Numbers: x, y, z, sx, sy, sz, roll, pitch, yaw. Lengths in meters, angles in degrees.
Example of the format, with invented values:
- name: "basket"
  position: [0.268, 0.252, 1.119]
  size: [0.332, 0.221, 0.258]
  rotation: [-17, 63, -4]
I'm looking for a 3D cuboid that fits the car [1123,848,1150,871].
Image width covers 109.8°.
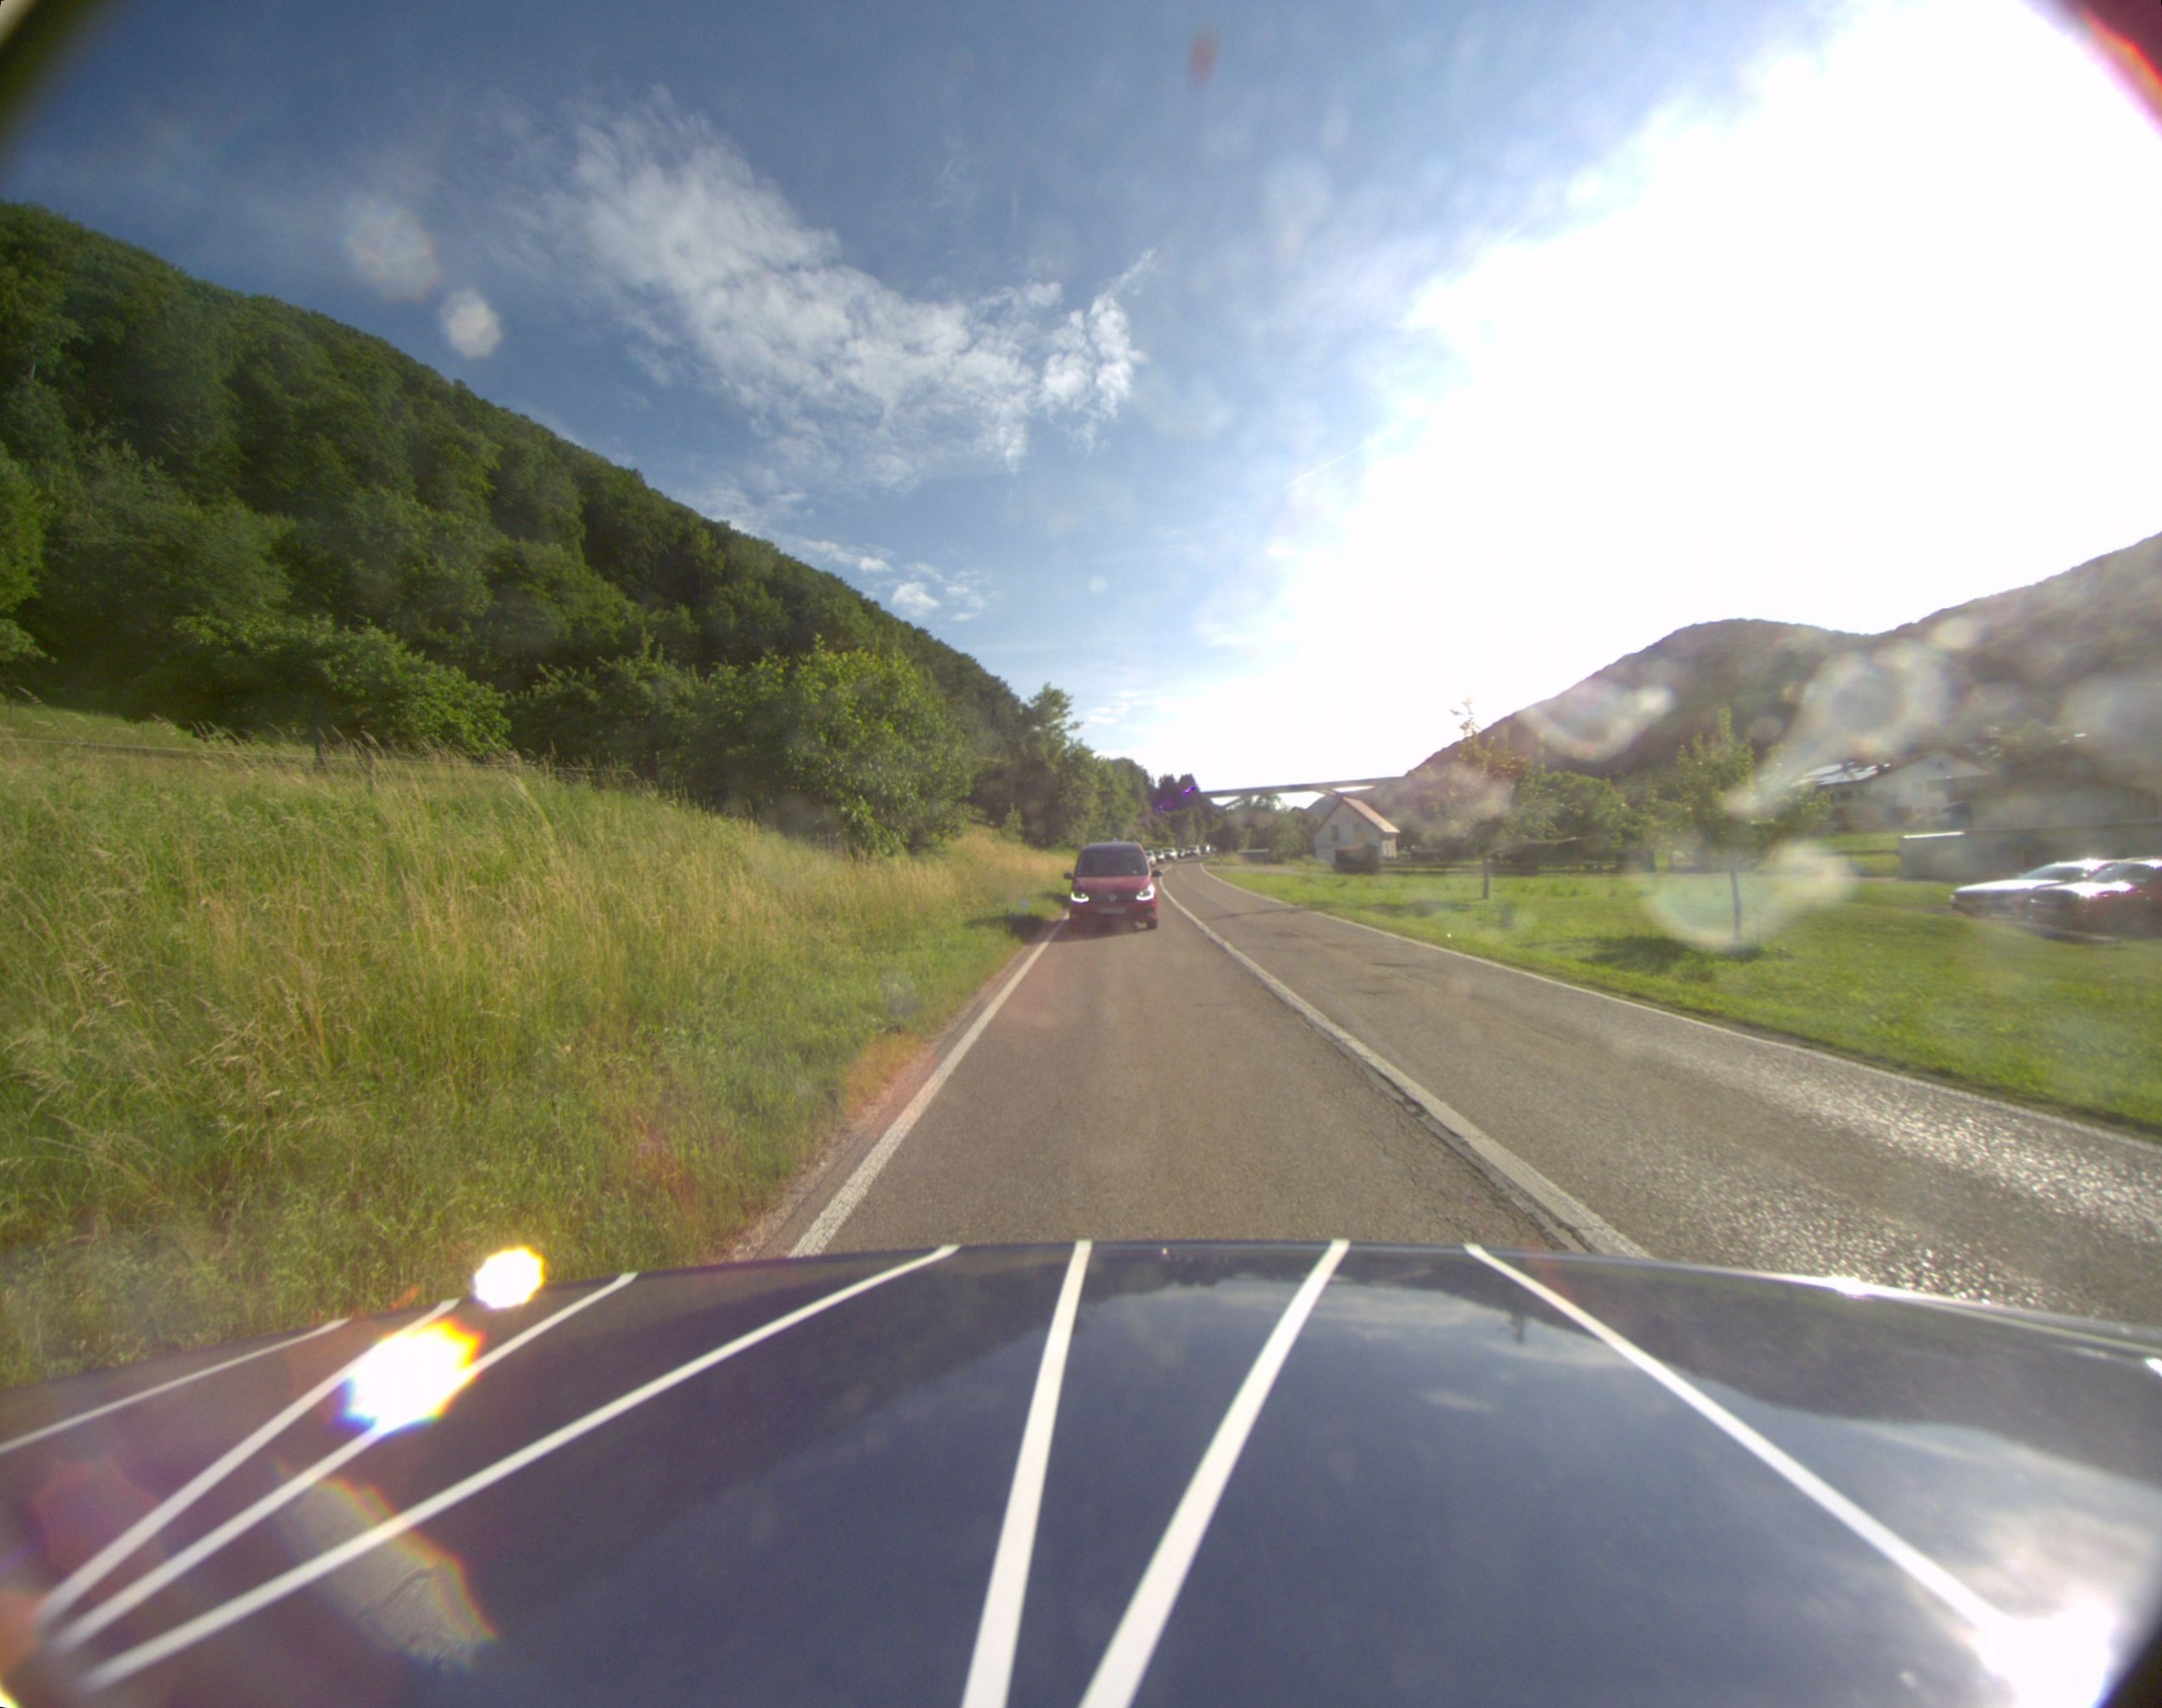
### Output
- name: "car"
  position: [4.004, 0.370, 54.321]
  size: [1.629, 1.470, 3.681]
  rotation: [-2, 1, 8]

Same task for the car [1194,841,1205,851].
- name: "car"
  position: [19.106, -1.360, 122.578]
  size: [1.629, 1.470, 3.680]
  rotation: [-2, 1, 7]

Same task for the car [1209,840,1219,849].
- name: "car"
  position: [23.925, -1.766, 136.755]
  size: [1.629, 1.470, 3.682]
  rotation: [-2, 1, 11]

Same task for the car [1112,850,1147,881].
- name: "car"
  position: [2.673, 0.601, 41.303]
  size: [1.629, 1.470, 3.681]
  rotation: [-2, 1, 8]

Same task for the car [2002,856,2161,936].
- name: "car"
  position: [24.818, 0.934, 17.482]
  size: [4.327, 1.659, 1.849]
  rotation: [-2, 1, 16]

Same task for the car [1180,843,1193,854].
- name: "car"
  position: [14.781, -0.744, 106.479]
  size: [1.629, 1.470, 3.682]
  rotation: [-2, 1, 11]

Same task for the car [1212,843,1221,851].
- name: "car"
  position: [26.580, -1.394, 148.543]
  size: [1.629, 1.470, 3.682]
  rotation: [-2, 1, 11]

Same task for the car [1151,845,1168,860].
- name: "car"
  position: [8.256, -0.138, 80.266]
  size: [1.629, 1.470, 3.680]
  rotation: [-2, 1, 4]

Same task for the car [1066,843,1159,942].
- name: "car"
  position: [0.710, 0.678, 15.885]
  size: [1.649, 1.762, 4.000]
  rotation: [-2, 1, 4]

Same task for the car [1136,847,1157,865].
- name: "car"
  position: [5.887, 0.146, 67.762]
  size: [1.629, 1.470, 3.681]
  rotation: [-2, 1, 8]

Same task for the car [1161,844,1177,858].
- name: "car"
  position: [10.594, -0.380, 91.662]
  size: [1.629, 1.470, 3.680]
  rotation: [-2, 1, 4]

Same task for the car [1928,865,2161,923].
- name: "car"
  position: [25.865, 1.060, 20.358]
  size: [3.892, 1.360, 1.854]
  rotation: [-1, 1, 13]
